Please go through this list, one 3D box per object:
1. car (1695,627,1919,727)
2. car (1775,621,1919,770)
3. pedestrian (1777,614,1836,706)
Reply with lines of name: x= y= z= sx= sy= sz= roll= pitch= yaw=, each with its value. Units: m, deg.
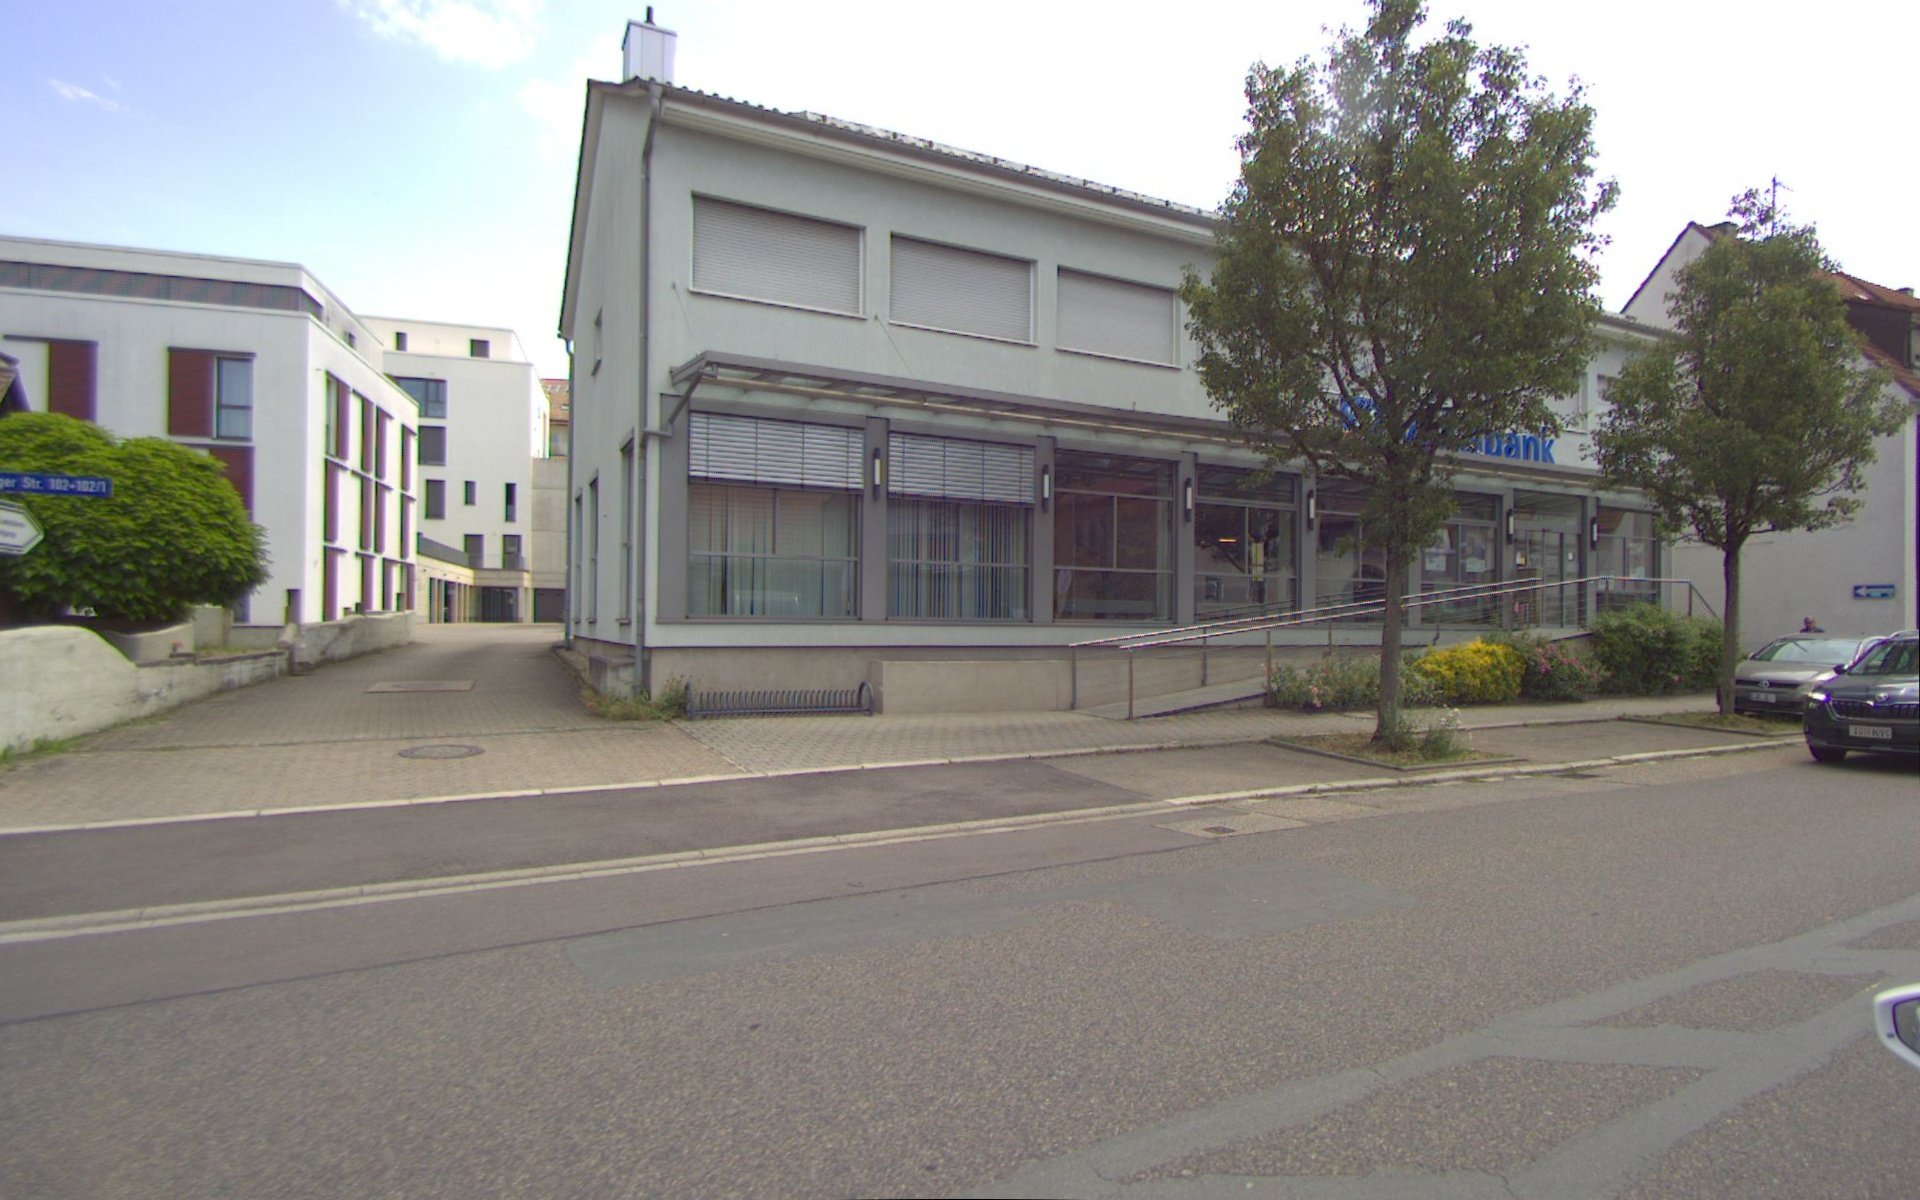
car: x=14.510 y=1.220 z=16.974 sx=4.106 sy=1.480 sz=1.797 roll=1 pitch=-1 yaw=-28
car: x=11.550 y=1.040 z=11.764 sx=3.970 sy=1.547 sz=1.736 roll=1 pitch=-3 yaw=-29
pedestrian: x=17.144 y=1.205 z=20.349 sx=0.635 sy=1.825 sz=0.735 roll=2 pitch=-2 yaw=-31
